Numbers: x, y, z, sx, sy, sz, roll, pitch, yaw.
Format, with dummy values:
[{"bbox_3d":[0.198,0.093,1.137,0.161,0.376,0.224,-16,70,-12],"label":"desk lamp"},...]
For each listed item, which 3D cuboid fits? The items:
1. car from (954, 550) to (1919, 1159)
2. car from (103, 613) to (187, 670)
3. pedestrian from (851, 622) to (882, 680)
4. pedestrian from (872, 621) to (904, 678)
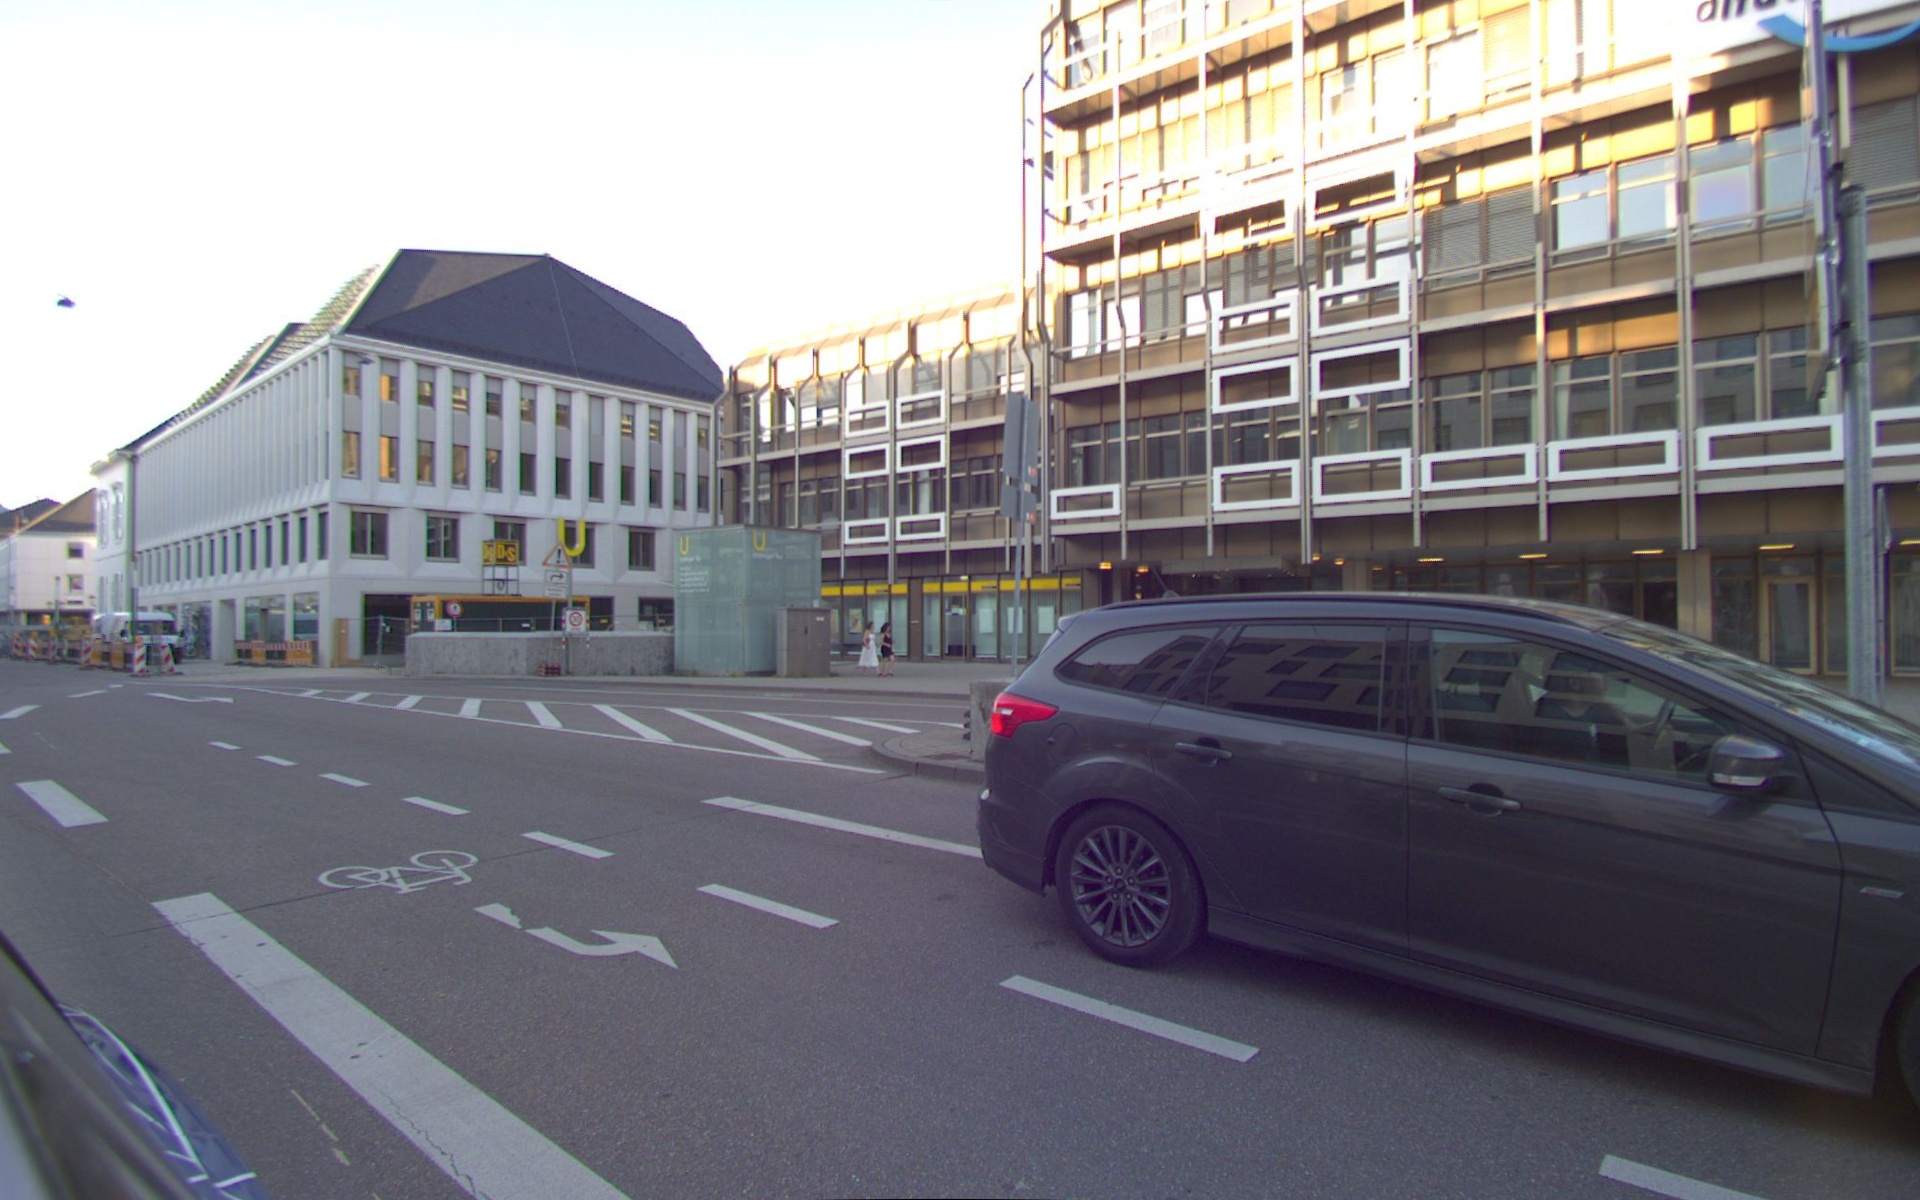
[{"bbox_3d":[2.209,0.630,3.683,4.377,1.473,1.740,-2,-1,40],"label":"car"},{"bbox_3d":[-38.835,1.952,48.161,6.047,2.575,2.114,-2,-3,41],"label":"car"},{"bbox_3d":[-2.687,1.451,29.104,0.583,1.652,0.662,-2,-3,41],"label":"pedestrian"},{"bbox_3d":[-2.096,1.445,29.574,0.702,1.652,0.608,-2,-3,41],"label":"pedestrian"}]
